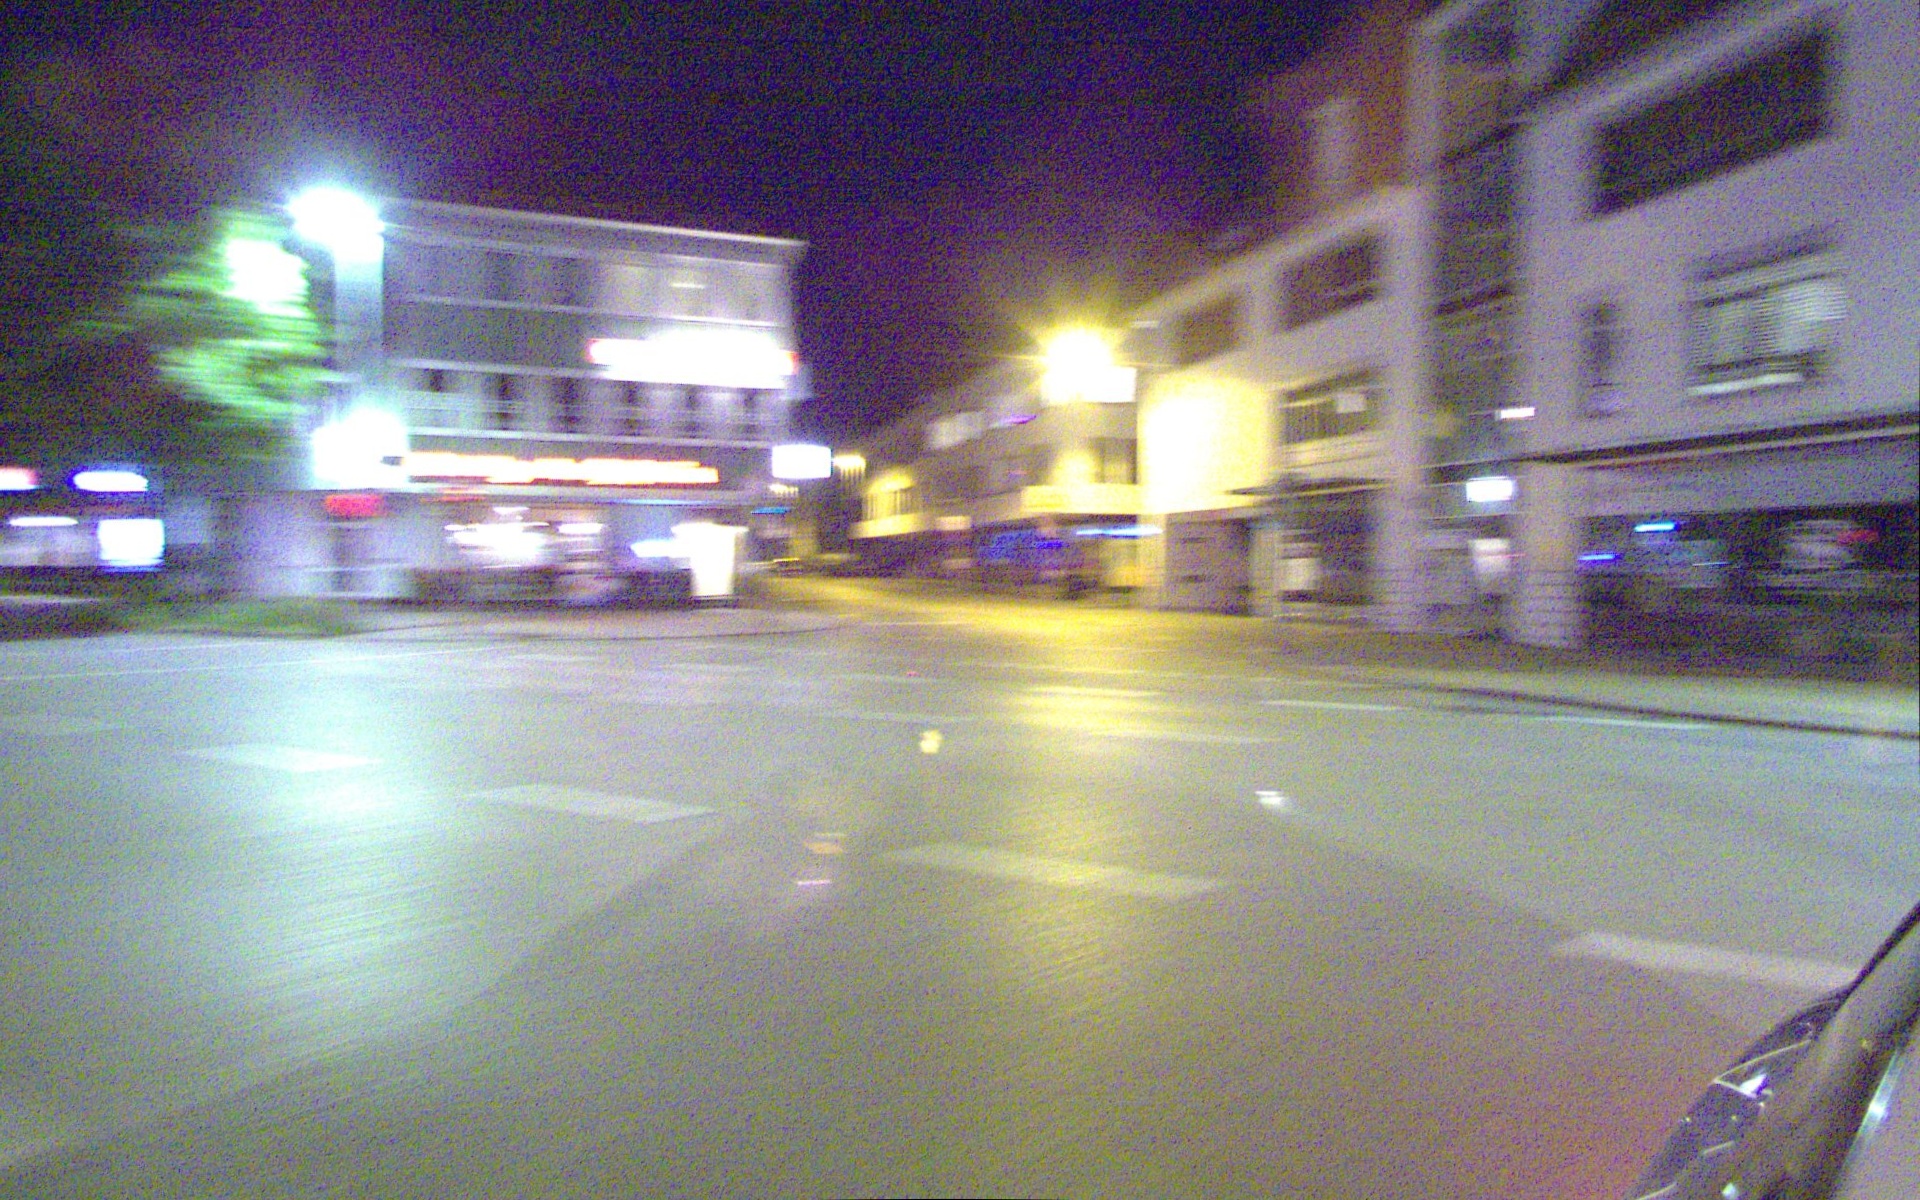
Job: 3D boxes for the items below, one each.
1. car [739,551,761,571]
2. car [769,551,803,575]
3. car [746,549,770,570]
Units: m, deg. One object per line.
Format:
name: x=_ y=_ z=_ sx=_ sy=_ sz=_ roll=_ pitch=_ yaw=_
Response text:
car: x=-21.174 y=-3.917 z=102.034 sx=1.958 sy=1.805 sz=4.008 roll=1 pitch=0 yaw=-14
car: x=-13.742 y=-2.902 z=79.690 sx=1.958 sy=1.772 sz=4.009 roll=1 pitch=0 yaw=-19
car: x=-19.416 y=-3.831 z=97.275 sx=1.958 sy=1.861 sz=4.009 roll=1 pitch=0 yaw=-15
